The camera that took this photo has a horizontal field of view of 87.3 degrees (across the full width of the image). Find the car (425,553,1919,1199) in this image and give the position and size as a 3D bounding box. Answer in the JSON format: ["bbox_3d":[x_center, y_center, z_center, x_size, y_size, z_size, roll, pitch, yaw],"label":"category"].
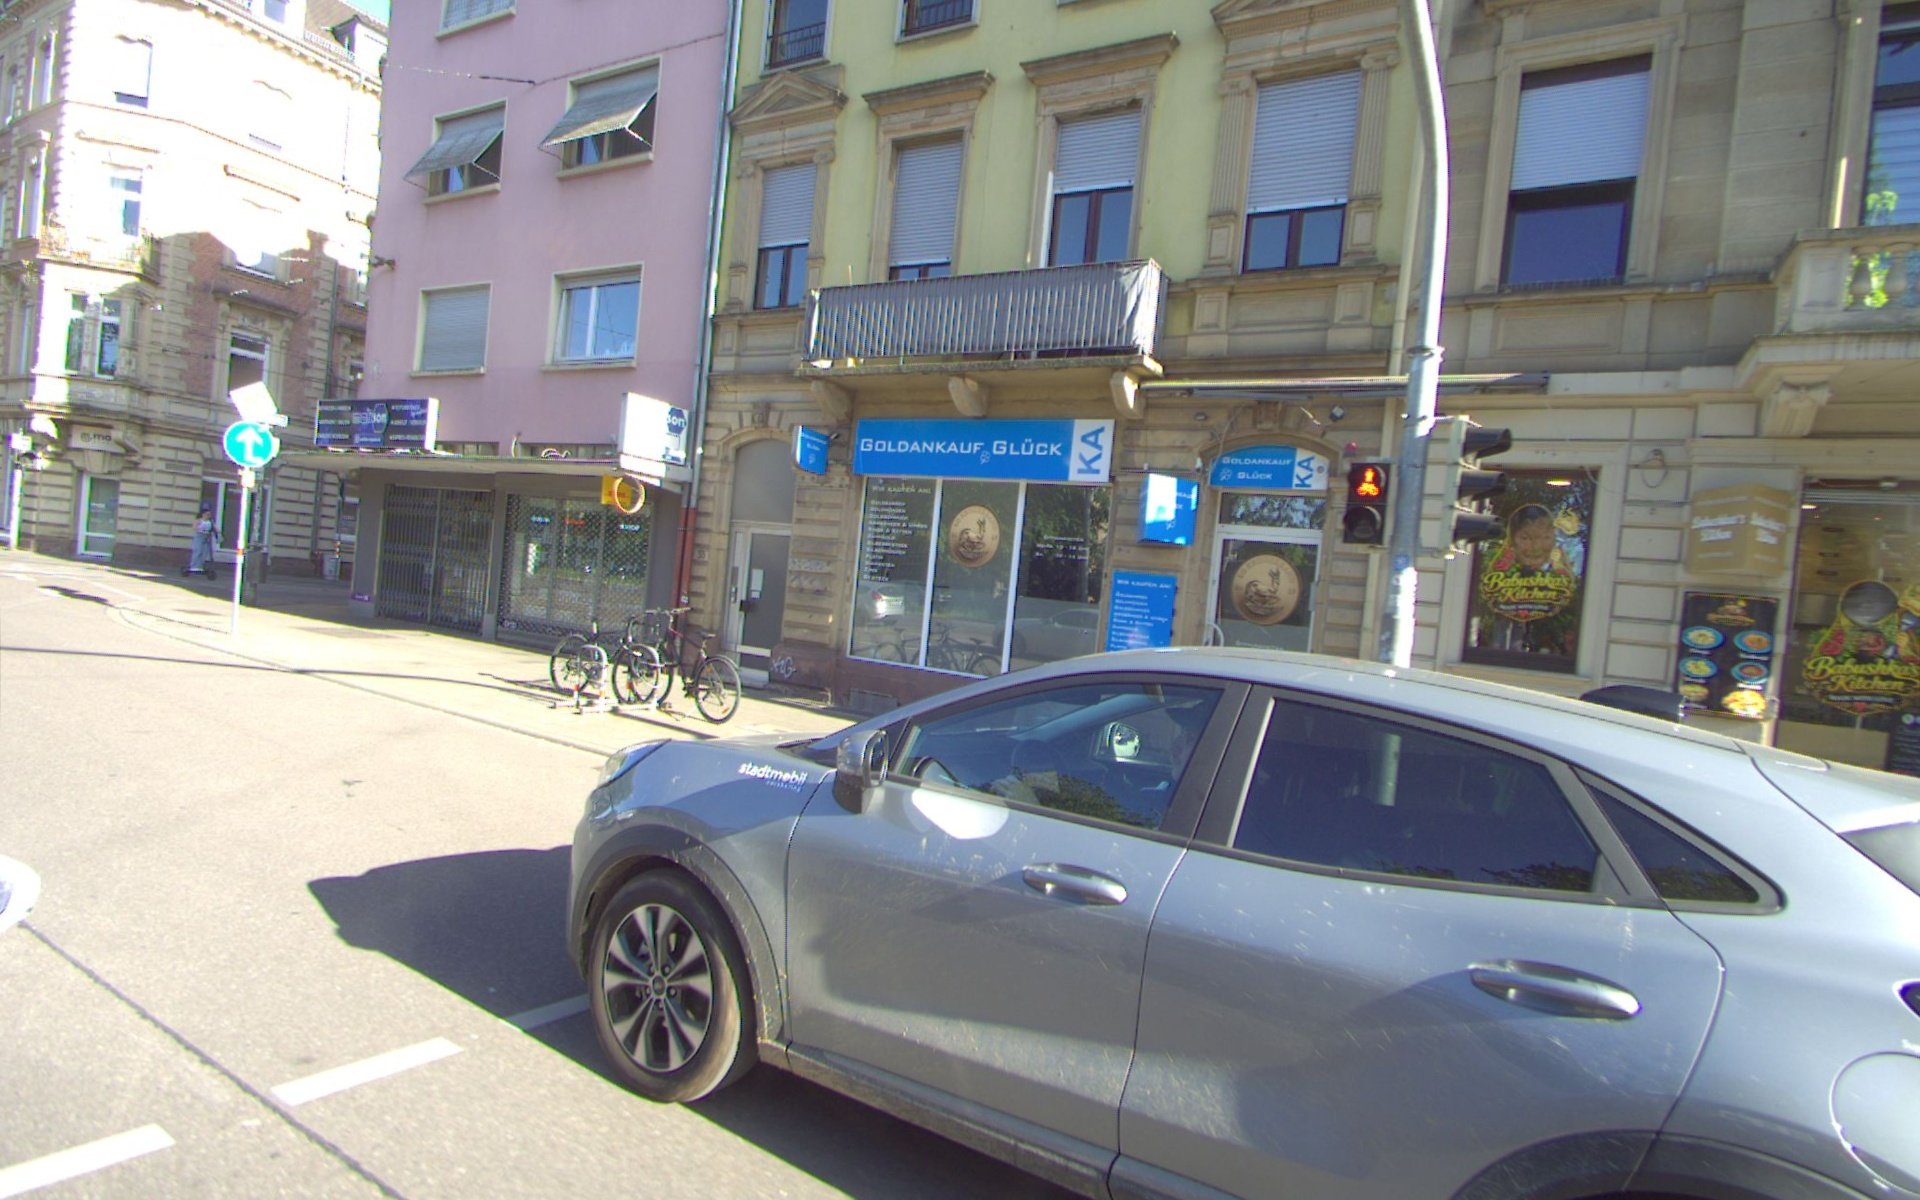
[{"bbox_3d":[0.561,0.878,2.948,4.308,1.546,1.700,6,-1,31],"label":"car"}]

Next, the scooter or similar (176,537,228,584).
[{"bbox_3d":[-18.583,-0.972,24.660,1.260,1.000,0.338,7,1,21],"label":"scooter or similar"}]

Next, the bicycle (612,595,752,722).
[{"bbox_3d":[-3.098,0.622,11.110,1.732,1.174,0.448,7,1,38],"label":"bicycle"}]

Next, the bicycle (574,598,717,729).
[{"bbox_3d":[-3.370,0.649,10.688,1.782,1.155,0.413,7,0,39],"label":"bicycle"}]

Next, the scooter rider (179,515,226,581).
[{"bbox_3d":[-18.551,-1.270,24.649,0.796,1.524,0.466,7,1,22],"label":"scooter rider"}]
